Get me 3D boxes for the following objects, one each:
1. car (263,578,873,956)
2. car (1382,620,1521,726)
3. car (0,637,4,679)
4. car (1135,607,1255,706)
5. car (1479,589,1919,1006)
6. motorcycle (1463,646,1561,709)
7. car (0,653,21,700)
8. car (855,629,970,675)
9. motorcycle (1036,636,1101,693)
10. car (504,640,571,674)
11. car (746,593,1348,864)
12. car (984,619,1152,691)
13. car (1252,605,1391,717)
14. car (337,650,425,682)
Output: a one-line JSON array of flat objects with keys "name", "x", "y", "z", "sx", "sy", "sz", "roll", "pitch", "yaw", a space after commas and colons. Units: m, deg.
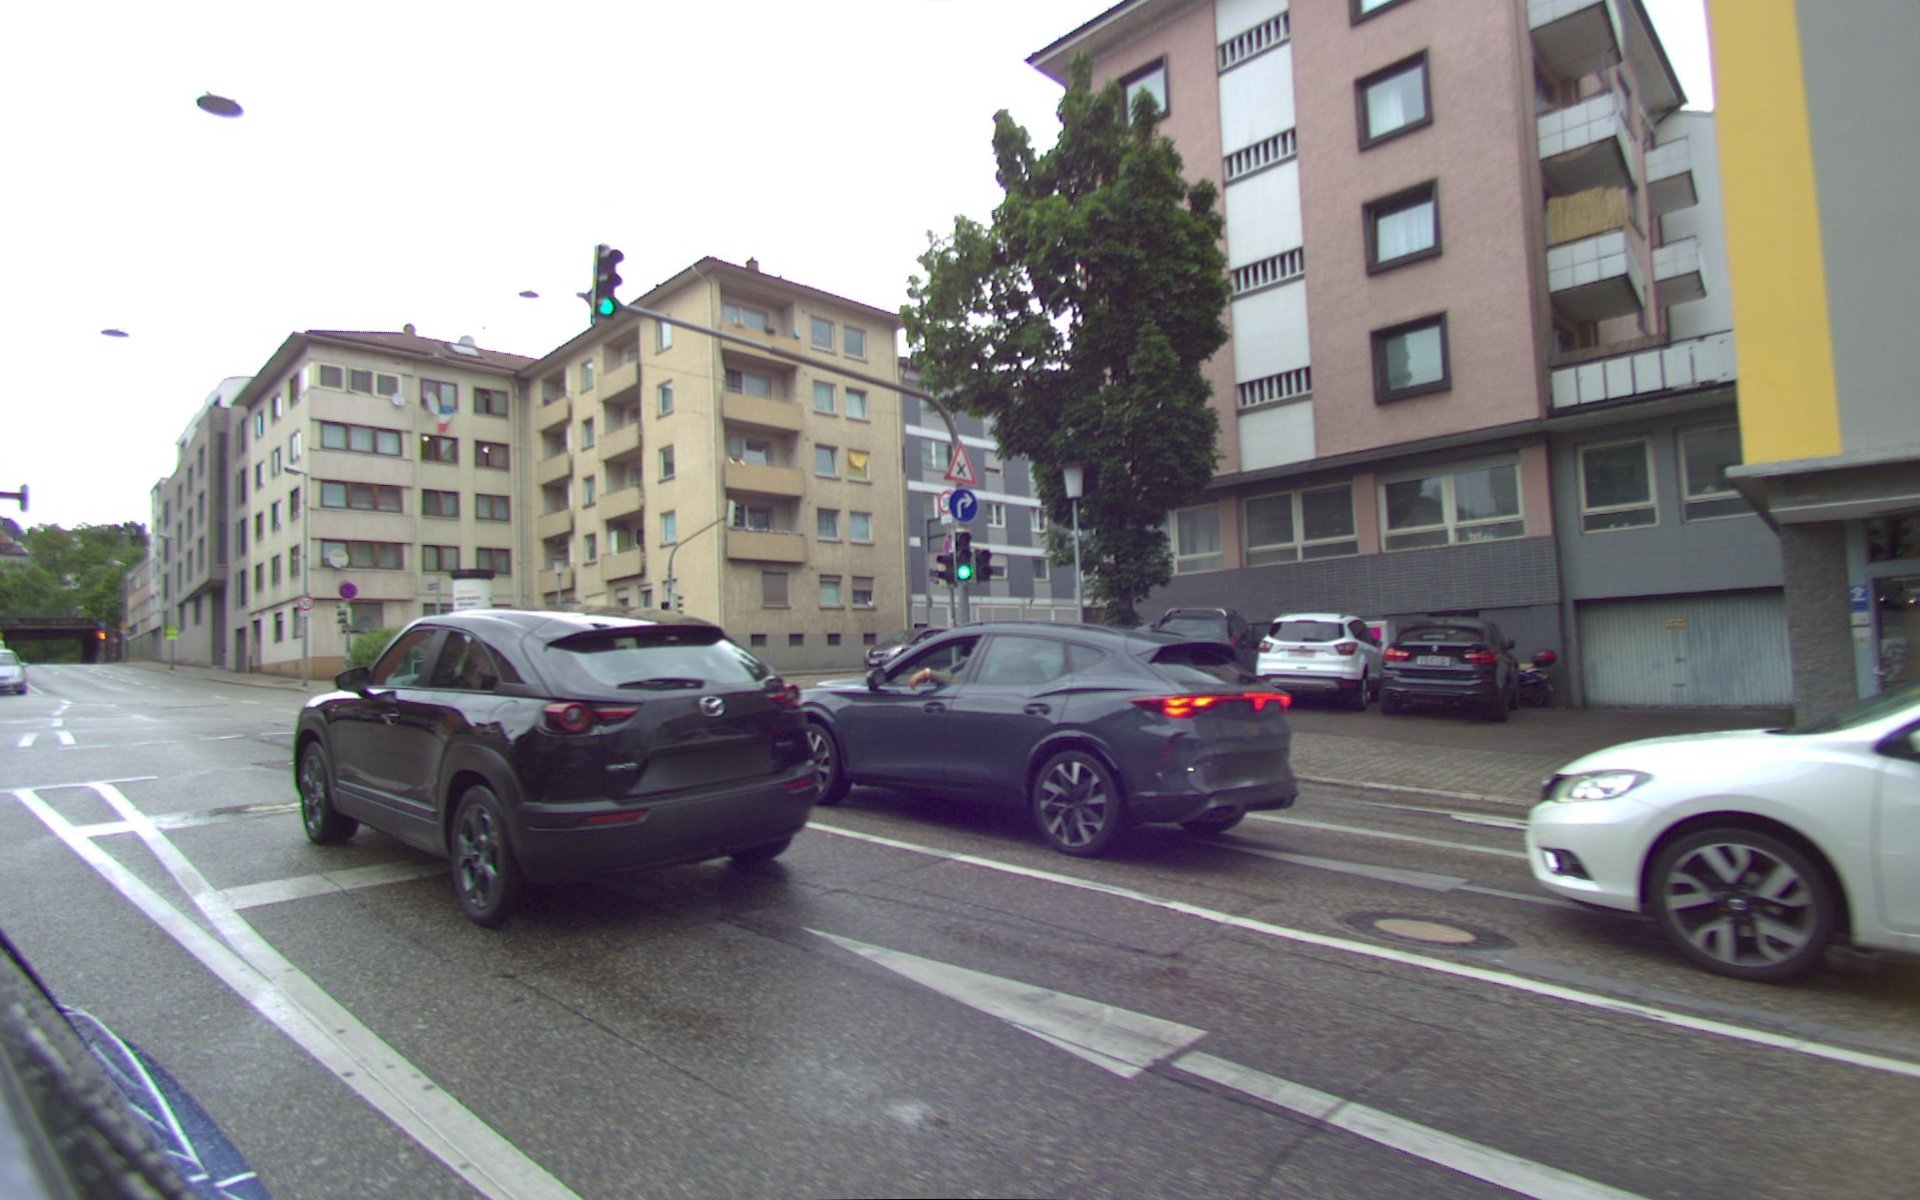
[{"name": "car", "x": -2.688, "y": 0.709, "z": 6.315, "sx": 4.378, "sy": 1.548, "sz": 1.799, "roll": 0, "pitch": -1, "yaw": 43}, {"name": "car", "x": 8.448, "y": 1.130, "z": 17.224, "sx": 1.854, "sy": 1.507, "sz": 3.959, "roll": 0, "pitch": 0, "yaw": 30}, {"name": "car", "x": -48.253, "y": 2.921, "z": 49.595, "sx": 1.914, "sy": 1.930, "sz": 4.860, "roll": -1, "pitch": -4, "yaw": -43}, {"name": "car", "x": 4.854, "y": 1.044, "z": 20.488, "sx": 1.761, "sy": 1.741, "sz": 4.315, "roll": 0, "pitch": -1, "yaw": 21}, {"name": "car", "x": 4.703, "y": 0.720, "z": 3.985, "sx": 4.378, "sy": 1.554, "sz": 1.787, "roll": -4, "pitch": -4, "yaw": 42}, {"name": "motorcycle", "x": 10.648, "y": 1.504, "z": 19.557, "sx": 1.523, "sy": 1.098, "sz": 0.478, "roll": -7, "pitch": -4, "yaw": 38}, {"name": "car", "x": -34.271, "y": 2.707, "z": 35.536, "sx": 1.813, "sy": 1.566, "sz": 4.003, "roll": 0, "pitch": -3, "yaw": -44}, {"name": "car", "x": -1.672, "y": 1.835, "z": 36.400, "sx": 1.733, "sy": 1.492, "sz": 4.014, "roll": -6, "pitch": -5, "yaw": 43}, {"name": "motorcycle", "x": 2.171, "y": 1.256, "z": 20.096, "sx": 0.452, "sy": 1.040, "sz": 1.773, "roll": -3, "pitch": -2, "yaw": 35}, {"name": "car", "x": -20.249, "y": 2.725, "z": 48.419, "sx": 3.325, "sy": 1.485, "sz": 1.741, "roll": -3, "pitch": -2, "yaw": 43}, {"name": "car", "x": 0.412, "y": 0.822, "z": 7.732, "sx": 4.378, "sy": 1.489, "sz": 1.799, "roll": -4, "pitch": -4, "yaw": 42}, {"name": "car", "x": 2.494, "y": 1.177, "z": 22.725, "sx": 1.738, "sy": 1.370, "sz": 3.944, "roll": -2, "pitch": -1, "yaw": 42}, {"name": "car", "x": 6.771, "y": 1.051, "z": 18.709, "sx": 1.852, "sy": 1.807, "sz": 3.961, "roll": 0, "pitch": -2, "yaw": 28}, {"name": "car", "x": -26.177, "y": 2.971, "z": 45.810, "sx": 1.383, "sy": 1.201, "sz": 3.215, "roll": -6, "pitch": -4, "yaw": 45}]
